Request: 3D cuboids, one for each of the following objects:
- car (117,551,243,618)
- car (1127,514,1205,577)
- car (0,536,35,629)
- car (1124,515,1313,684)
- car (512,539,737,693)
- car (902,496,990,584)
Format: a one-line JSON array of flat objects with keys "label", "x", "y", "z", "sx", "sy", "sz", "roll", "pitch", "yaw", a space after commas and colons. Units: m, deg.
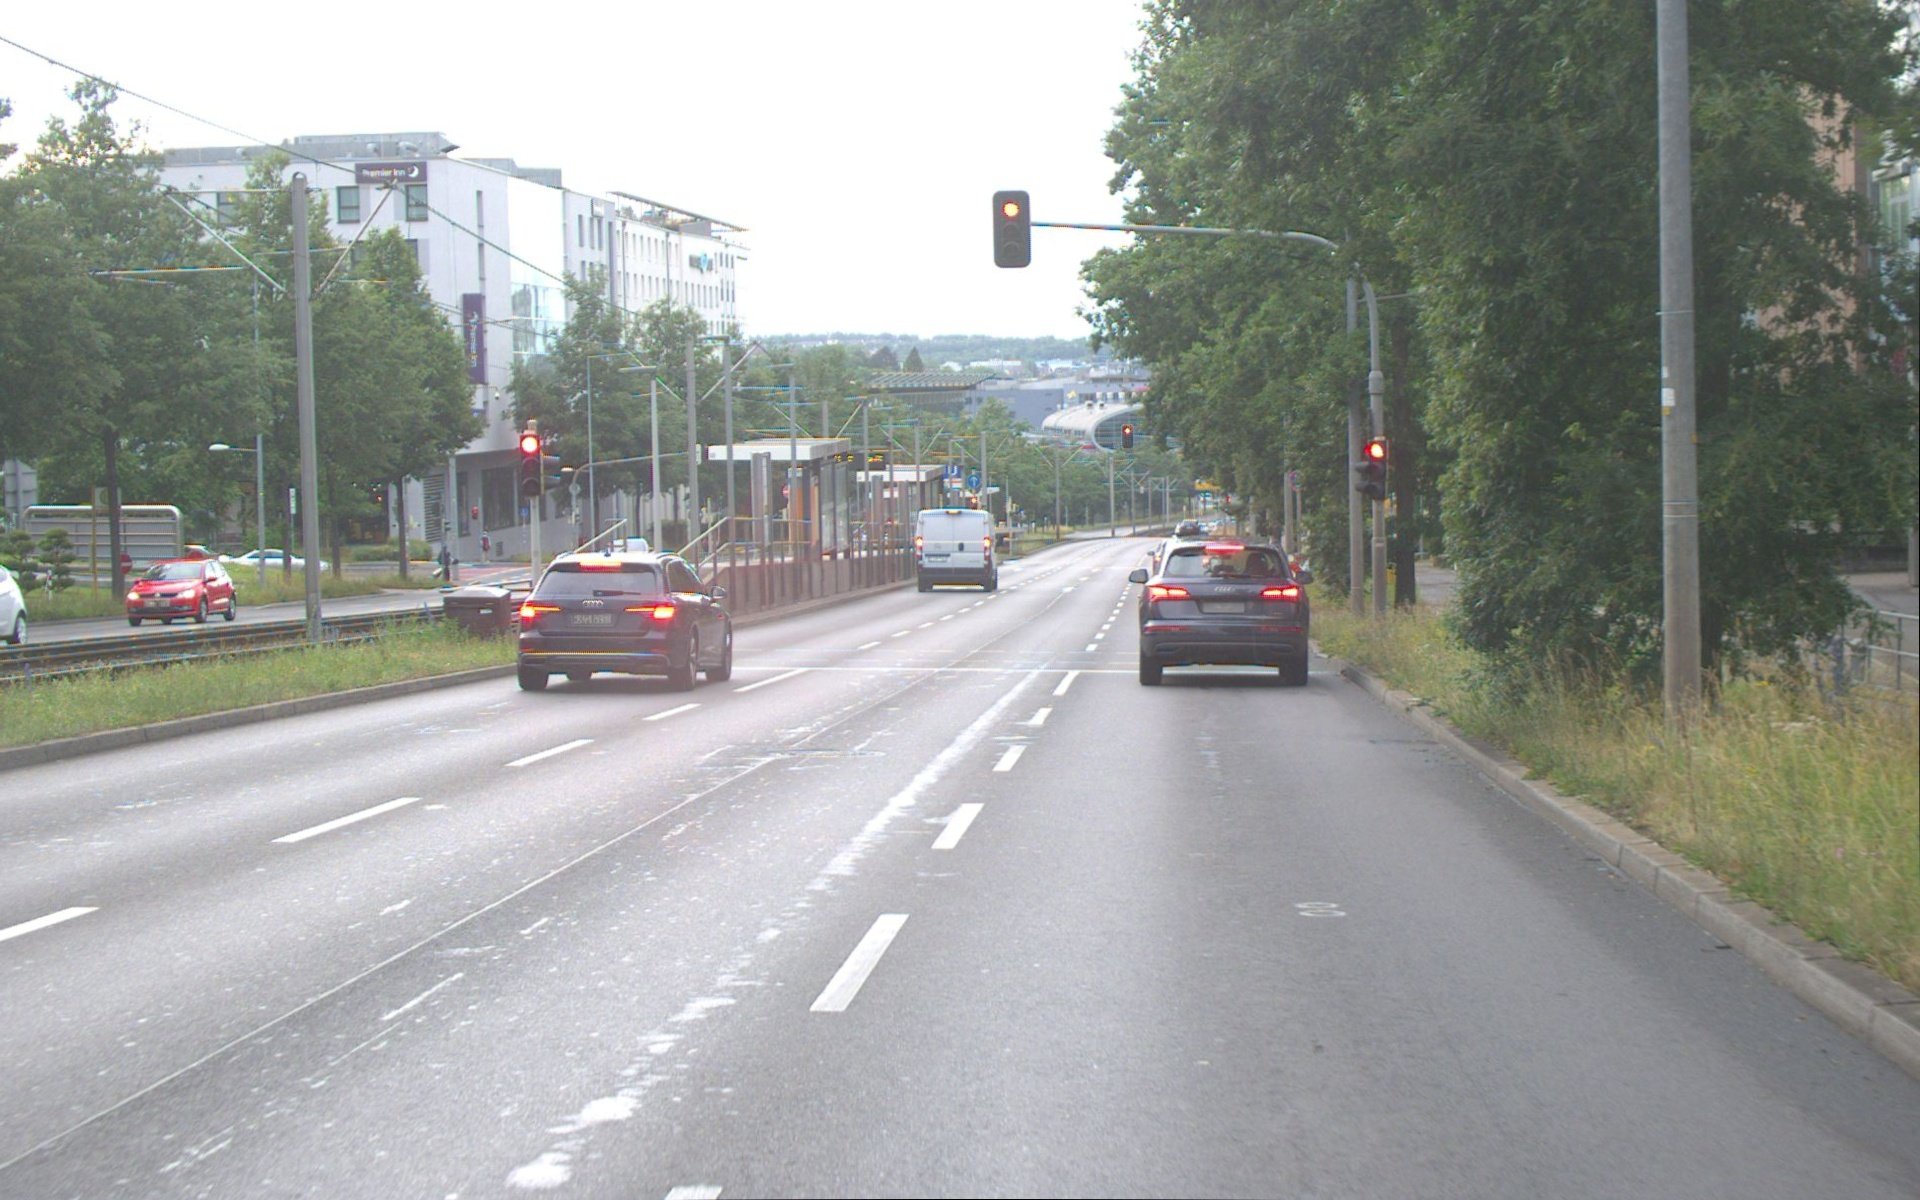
[{"label": "car", "x": -17.383, "y": -0.368, "z": 76.746, "sx": 1.663, "sy": 1.437, "sz": 3.896, "roll": 0, "pitch": 1, "yaw": 4}, {"label": "car", "x": 6.221, "y": -1.659, "z": 103.481, "sx": 2.049, "sy": 1.736, "sz": 4.573, "roll": 1, "pitch": 2, "yaw": 7}, {"label": "car", "x": -15.635, "y": -0.270, "z": 52.983, "sx": 1.663, "sy": 1.437, "sz": 3.897, "roll": 0, "pitch": 1, "yaw": 1}, {"label": "car", "x": 2.858, "y": -0.056, "z": 38.774, "sx": 1.922, "sy": 1.704, "sz": 4.098, "roll": 1, "pitch": 3, "yaw": 2}, {"label": "car", "x": -3.495, "y": 0.117, "z": 36.591, "sx": 1.786, "sy": 1.409, "sz": 4.806, "roll": 0, "pitch": 2, "yaw": 2}, {"label": "car", "x": -0.427, "y": -1.683, "z": 94.849, "sx": 2.267, "sy": 2.277, "sz": 4.760, "roll": 0, "pitch": 2, "yaw": -2}]
